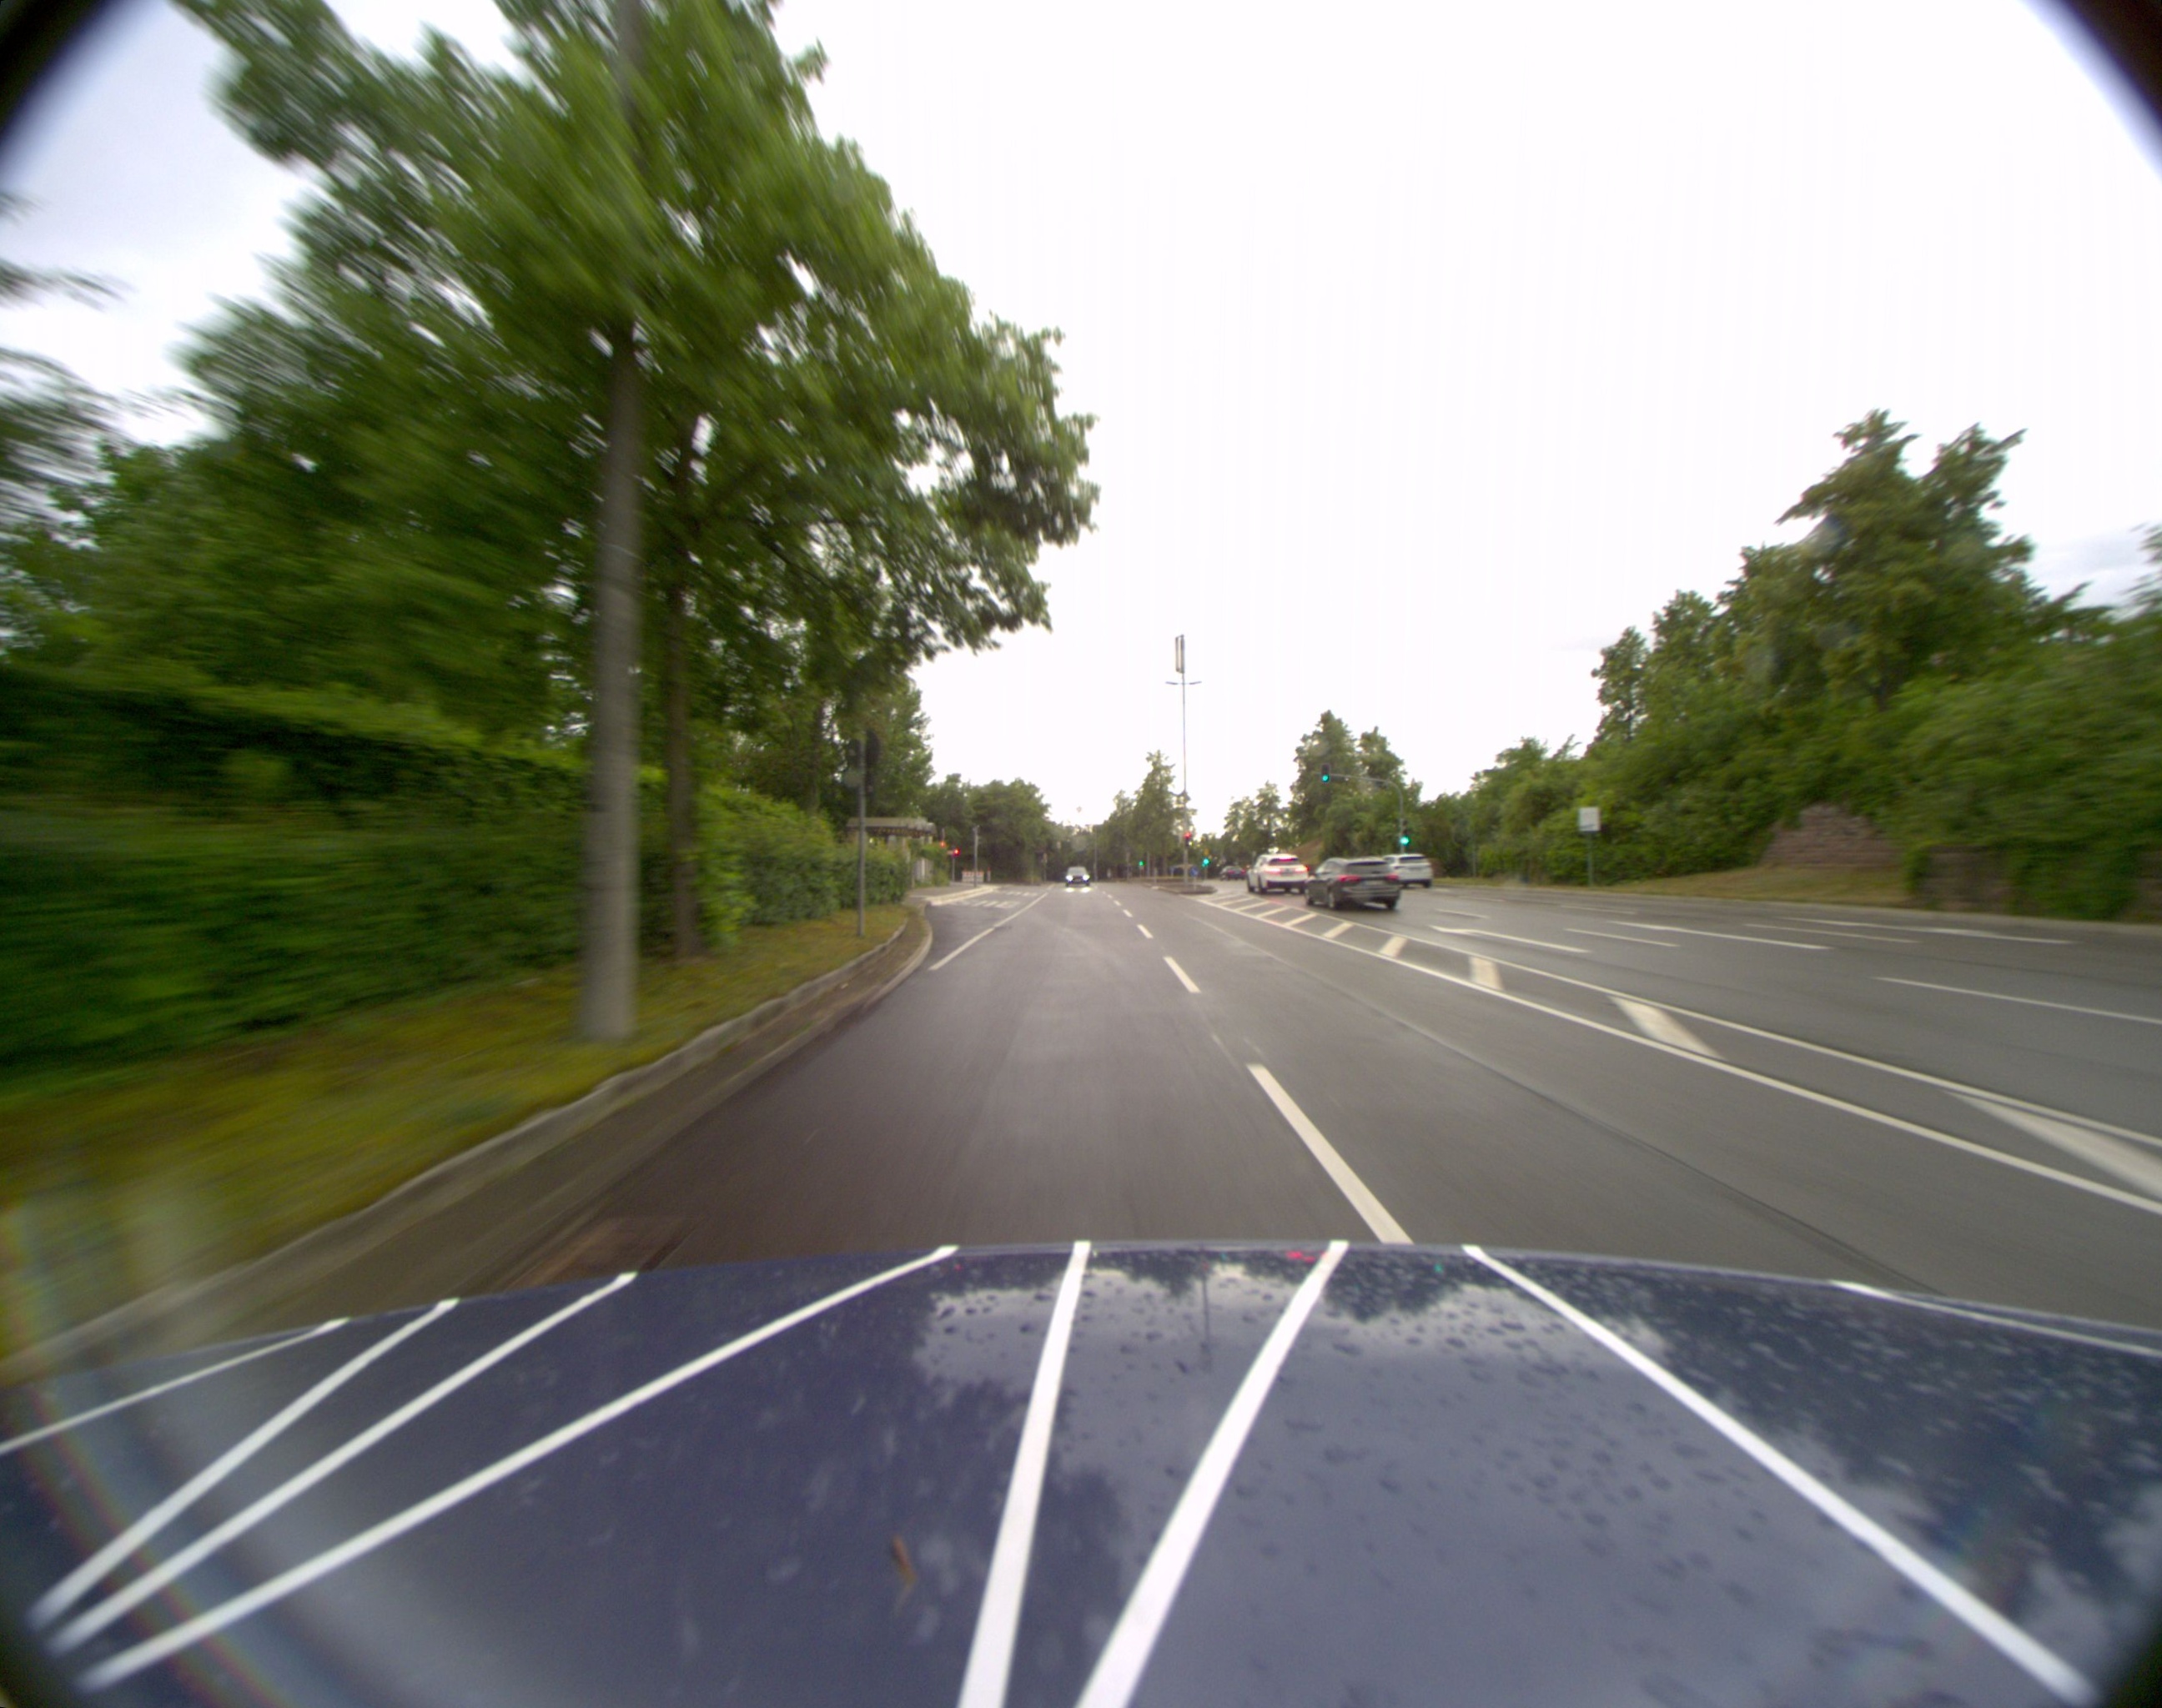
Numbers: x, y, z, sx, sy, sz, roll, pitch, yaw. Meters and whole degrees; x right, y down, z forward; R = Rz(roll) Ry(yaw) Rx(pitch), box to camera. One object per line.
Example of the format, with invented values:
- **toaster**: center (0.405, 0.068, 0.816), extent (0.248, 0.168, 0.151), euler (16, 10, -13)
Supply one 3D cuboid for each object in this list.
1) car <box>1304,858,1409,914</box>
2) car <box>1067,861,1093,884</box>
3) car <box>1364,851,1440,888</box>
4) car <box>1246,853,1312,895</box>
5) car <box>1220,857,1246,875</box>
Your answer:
- **car**: center (7.935, 0.872, 22.245), extent (1.781, 1.459, 3.998), euler (-1, 0, 3)
- **car**: center (-0.019, 1.364, 57.440), extent (1.737, 1.577, 4.287), euler (-1, 0, 3)
- **car**: center (15.115, 0.705, 36.035), extent (1.890, 1.646, 4.451), euler (-1, 0, 3)
- **car**: center (8.584, 0.831, 33.268), extent (1.890, 1.646, 4.451), euler (-1, 0, 3)
- **car**: center (15.197, 1.189, 76.068), extent (1.890, 1.646, 4.341), euler (-1, 0, 2)
